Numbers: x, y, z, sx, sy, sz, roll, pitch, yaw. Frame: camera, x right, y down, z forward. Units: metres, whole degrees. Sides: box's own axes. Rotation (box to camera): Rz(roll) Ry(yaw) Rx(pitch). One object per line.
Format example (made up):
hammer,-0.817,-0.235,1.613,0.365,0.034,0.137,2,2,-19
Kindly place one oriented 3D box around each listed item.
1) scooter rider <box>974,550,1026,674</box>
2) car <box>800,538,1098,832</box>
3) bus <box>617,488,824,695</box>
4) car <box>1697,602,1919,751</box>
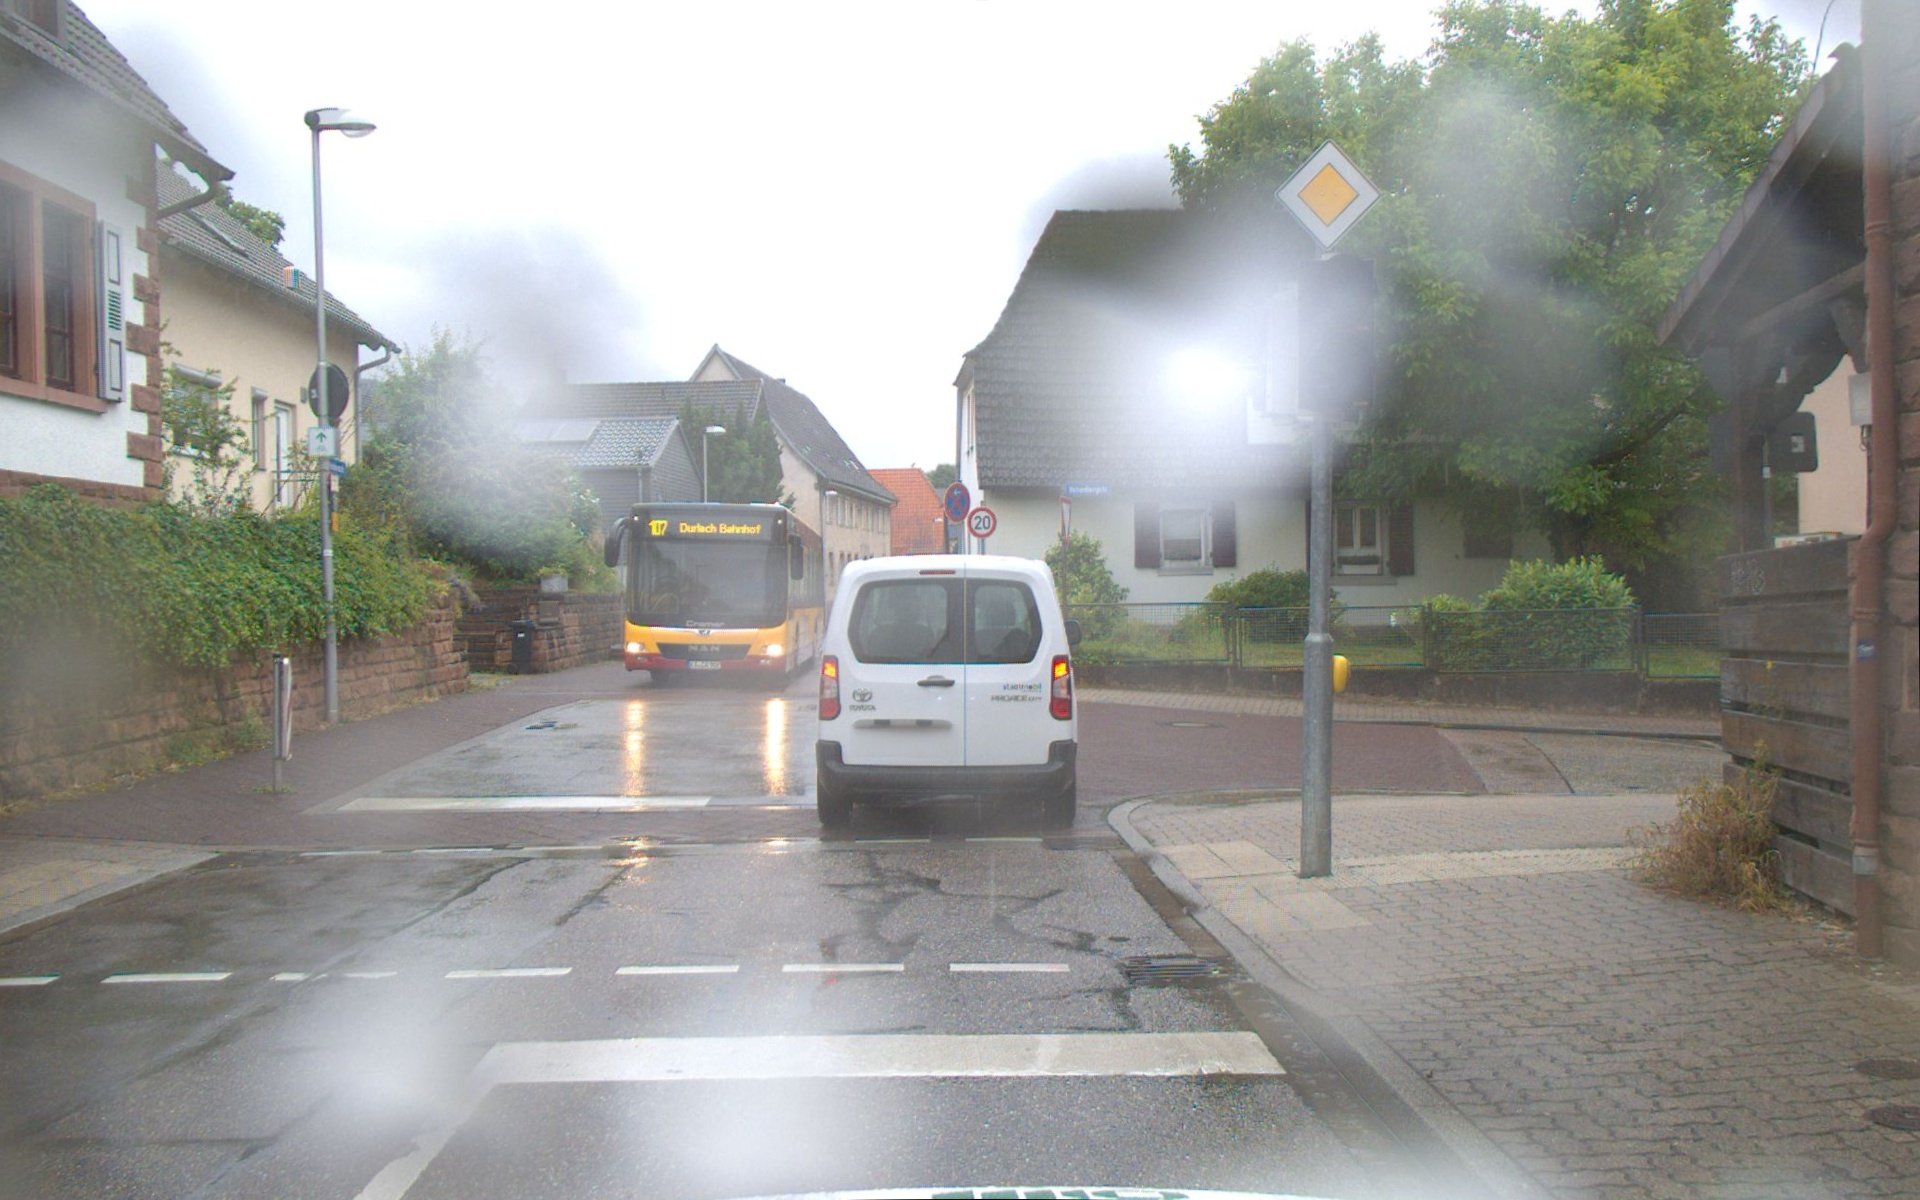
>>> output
scooter rider,0.568,0.166,23.759,0.716,1.763,0.518,-1,1,0
car,-0.029,0.520,12.287,1.855,1.825,3.814,1,0,1
bus,-4.031,-0.312,30.538,2.596,3.051,12.188,0,2,-3
car,10.293,0.828,17.944,3.902,1.492,1.785,1,-1,13
